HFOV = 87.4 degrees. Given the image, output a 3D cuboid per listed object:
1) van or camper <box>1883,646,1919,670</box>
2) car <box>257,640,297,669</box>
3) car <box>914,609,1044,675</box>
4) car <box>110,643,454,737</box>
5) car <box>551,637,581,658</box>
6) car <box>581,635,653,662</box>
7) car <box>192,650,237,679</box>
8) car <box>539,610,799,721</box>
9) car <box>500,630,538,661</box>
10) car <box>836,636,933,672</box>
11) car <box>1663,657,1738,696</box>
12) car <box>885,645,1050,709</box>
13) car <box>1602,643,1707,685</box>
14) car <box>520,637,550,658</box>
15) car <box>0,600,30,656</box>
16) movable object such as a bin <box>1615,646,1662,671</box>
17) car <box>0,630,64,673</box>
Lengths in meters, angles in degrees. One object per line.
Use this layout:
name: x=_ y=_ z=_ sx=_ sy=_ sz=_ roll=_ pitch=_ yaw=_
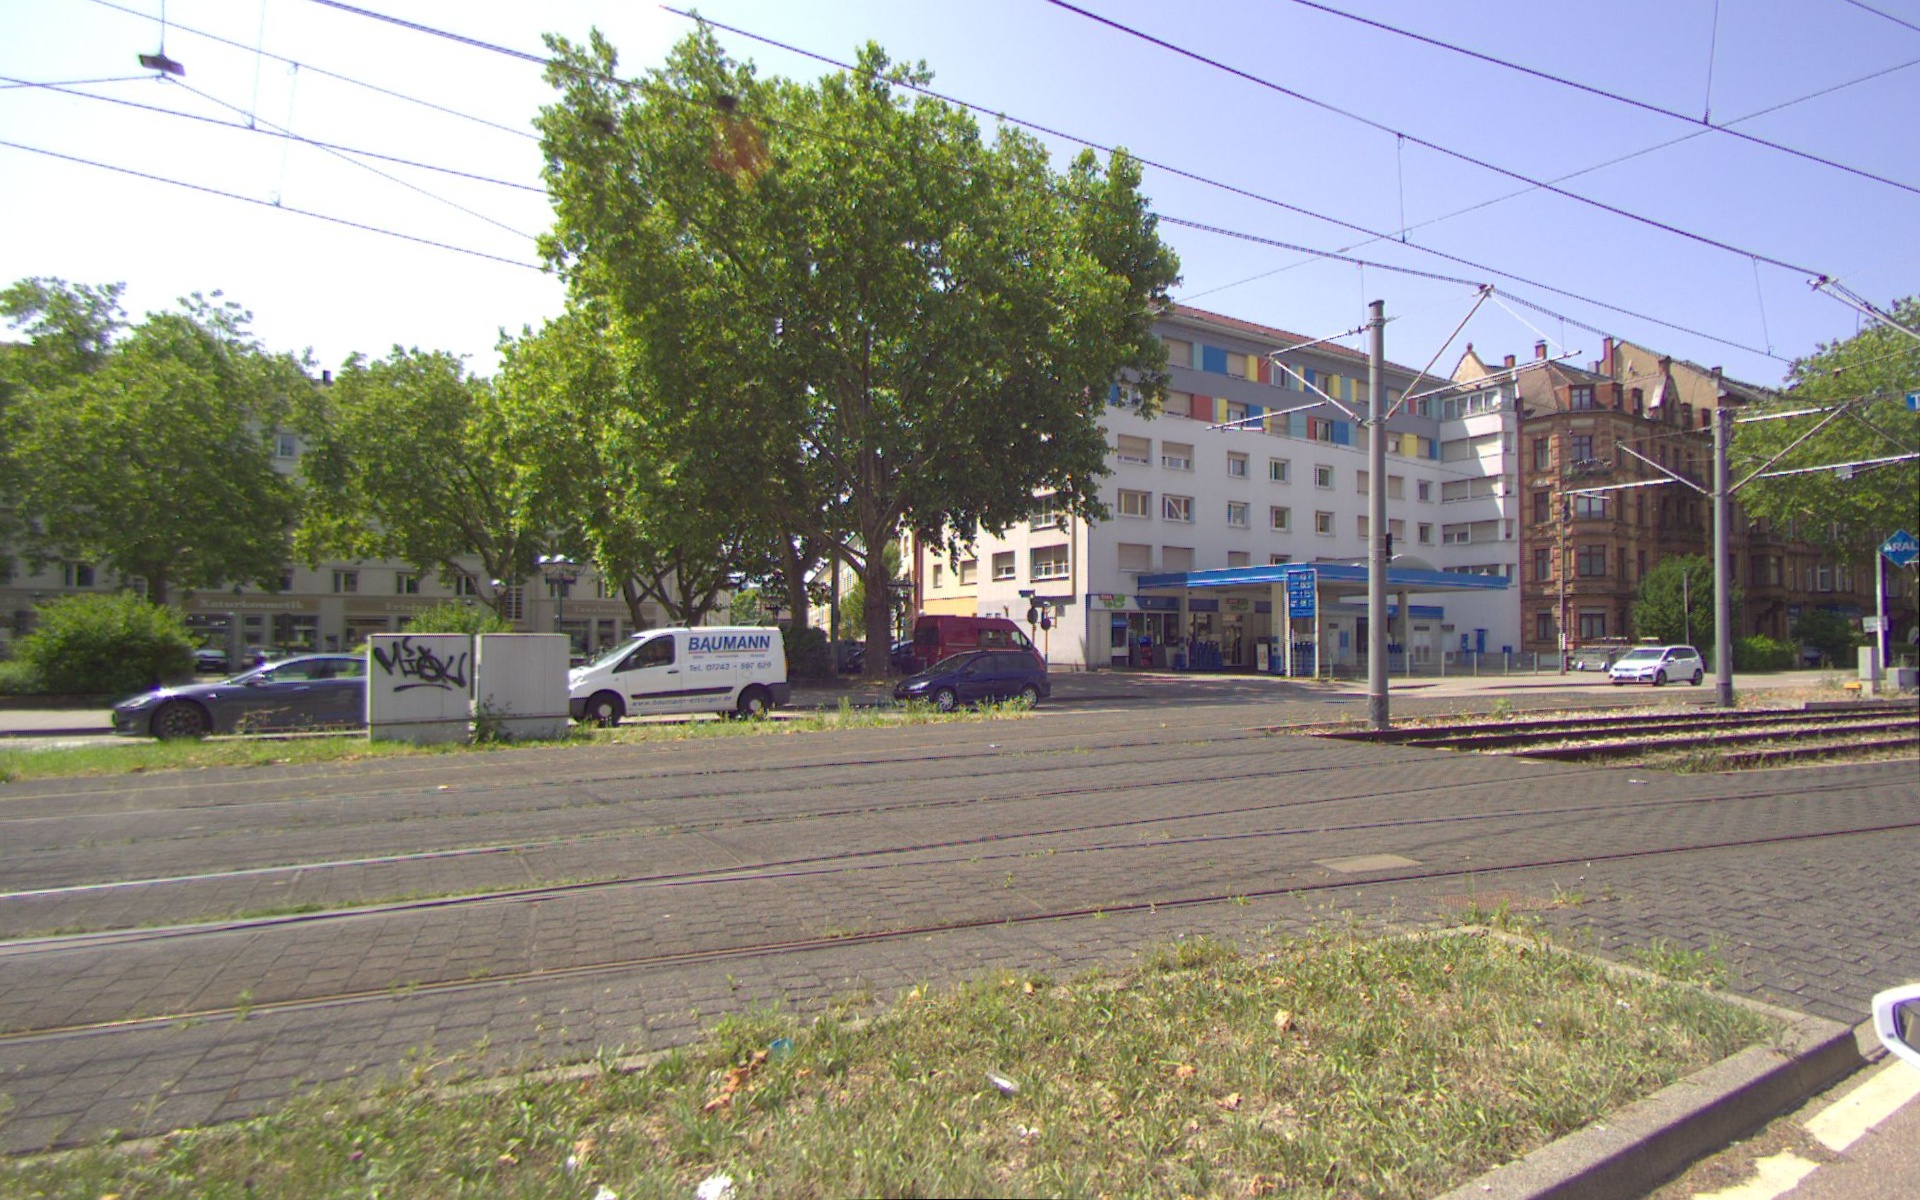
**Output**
van or camper: x=79.092 y=4.775 z=82.477 sx=1.906 sy=1.861 sz=4.530 roll=2 pitch=-2 yaw=-25
car: x=-37.235 y=2.951 z=54.801 sx=1.604 sy=1.428 sz=3.893 roll=2 pitch=-2 yaw=-32
car: x=0.781 y=1.639 z=39.108 sx=4.930 sy=2.424 sz=1.836 roll=2 pitch=-3 yaw=-34
car: x=-11.233 y=1.427 z=17.014 sx=4.579 sy=1.377 sz=1.936 roll=2 pitch=-3 yaw=-33
car: x=-28.504 y=3.398 z=72.663 sx=1.515 sy=1.428 sz=3.636 roll=2 pitch=-2 yaw=-29
car: x=-21.659 y=3.073 z=63.488 sx=3.957 sy=1.631 sz=1.983 roll=2 pitch=-3 yaw=-33
car: x=-39.471 y=3.388 z=53.230 sx=1.604 sy=1.428 sz=3.219 roll=2 pitch=-2 yaw=-32
car: x=-5.820 y=1.291 z=20.357 sx=4.754 sy=2.017 sz=1.767 roll=2 pitch=-3 yaw=-33
car: x=-26.668 y=2.727 z=60.696 sx=1.604 sy=1.769 sz=3.676 roll=2 pitch=-2 yaw=-32
car: x=-3.355 y=2.405 z=45.004 sx=3.956 sy=1.546 sz=1.853 roll=2 pitch=-2 yaw=-32
car: x=34.655 y=3.547 z=46.988 sx=3.667 sy=1.706 sz=1.644 roll=2 pitch=-2 yaw=-33
car: x=0.196 y=1.833 z=24.258 sx=3.741 sy=1.438 sz=1.588 roll=2 pitch=-4 yaw=-32
car: x=28.594 y=2.626 z=41.350 sx=4.550 sy=1.646 sz=1.838 roll=2 pitch=-4 yaw=-31
car: x=-30.311 y=3.365 z=71.594 sx=1.602 sy=1.428 sz=3.899 roll=2 pitch=-2 yaw=-28
car: x=-47.585 y=1.347 z=48.998 sx=2.084 sy=2.695 sz=5.662 roll=2 pitch=-2 yaw=-32
movable object such as a bin: x=38.140 y=3.272 z=56.474 sx=1.454 sy=1.403 sz=1.772 roll=2 pitch=-3 yaw=-33
car: x=-32.740 y=1.770 z=35.182 sx=1.456 sy=1.402 sz=3.316 roll=2 pitch=-2 yaw=-32
